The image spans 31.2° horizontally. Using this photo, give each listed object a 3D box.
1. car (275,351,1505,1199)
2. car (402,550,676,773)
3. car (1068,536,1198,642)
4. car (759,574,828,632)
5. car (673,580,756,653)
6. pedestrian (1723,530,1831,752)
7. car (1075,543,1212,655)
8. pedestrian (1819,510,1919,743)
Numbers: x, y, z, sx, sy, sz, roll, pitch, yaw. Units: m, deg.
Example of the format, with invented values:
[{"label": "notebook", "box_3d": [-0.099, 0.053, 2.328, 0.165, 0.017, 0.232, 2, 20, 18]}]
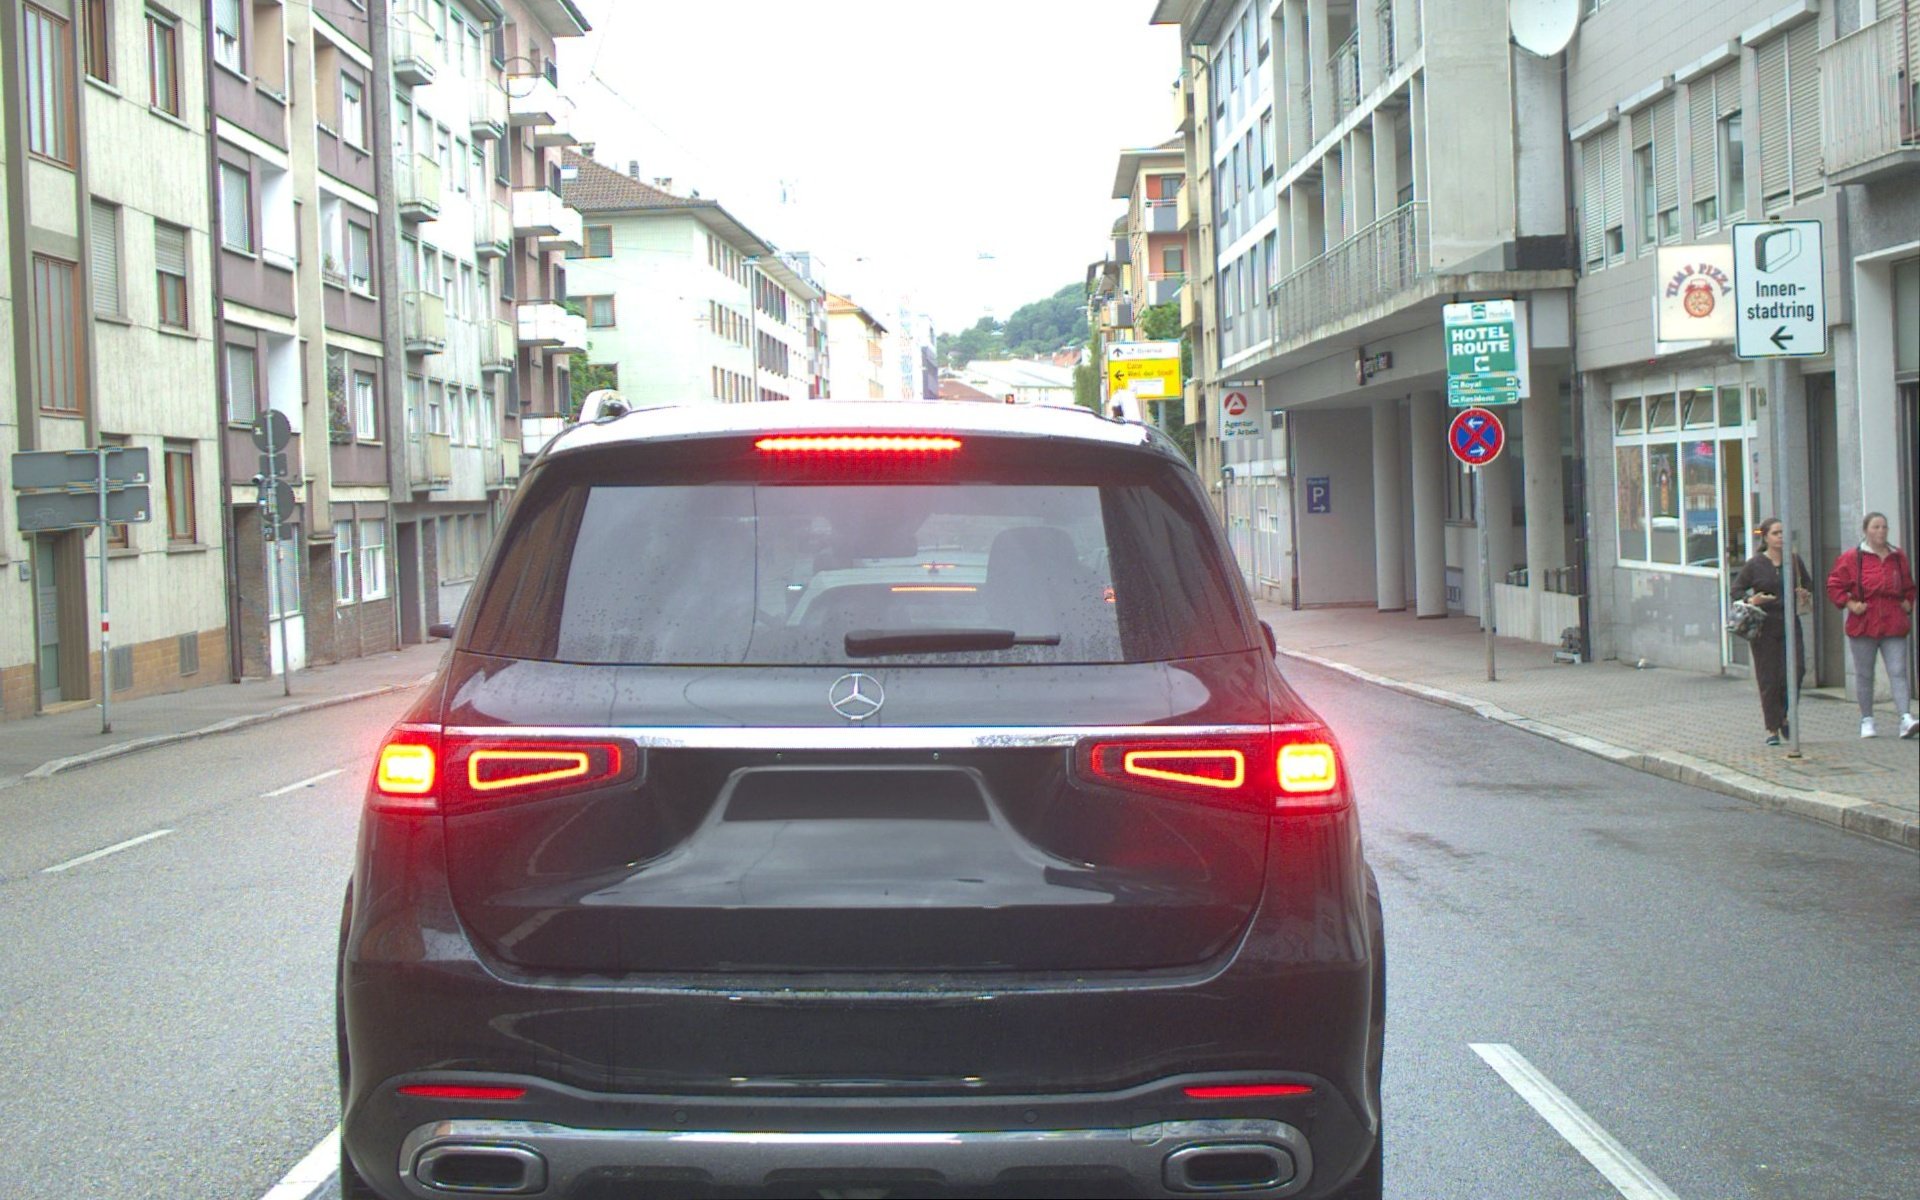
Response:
[{"label": "car", "box_3d": [-0.159, 0.469, 7.723, 2.025, 1.799, 4.000, 1, 1, -1]}, {"label": "car", "box_3d": [-3.404, 0.441, 28.455, 1.732, 1.570, 4.012, -5, 1, -1]}, {"label": "car", "box_3d": [2.974, -0.228, 59.971, 1.940, 1.769, 4.746, 0, 1, -1]}, {"label": "car", "box_3d": [-4.491, 0.071, 93.339, 1.648, 1.434, 4.125, -3, 1, -1]}, {"label": "car", "box_3d": [-5.807, 0.371, 81.793, 1.648, 1.570, 4.125, -3, 1, -1]}, {"label": "pedestrian", "box_3d": [5.705, 0.278, 24.022, 0.506, 1.495, 0.562, -4, 1, -1]}, {"label": "car", "box_3d": [2.685, -0.045, 51.021, 1.767, 1.575, 4.000, -1, 1, -1]}, {"label": "pedestrian", "box_3d": [6.409, 0.177, 24.031, 0.560, 1.573, 0.526, -4, 1, -1]}]
